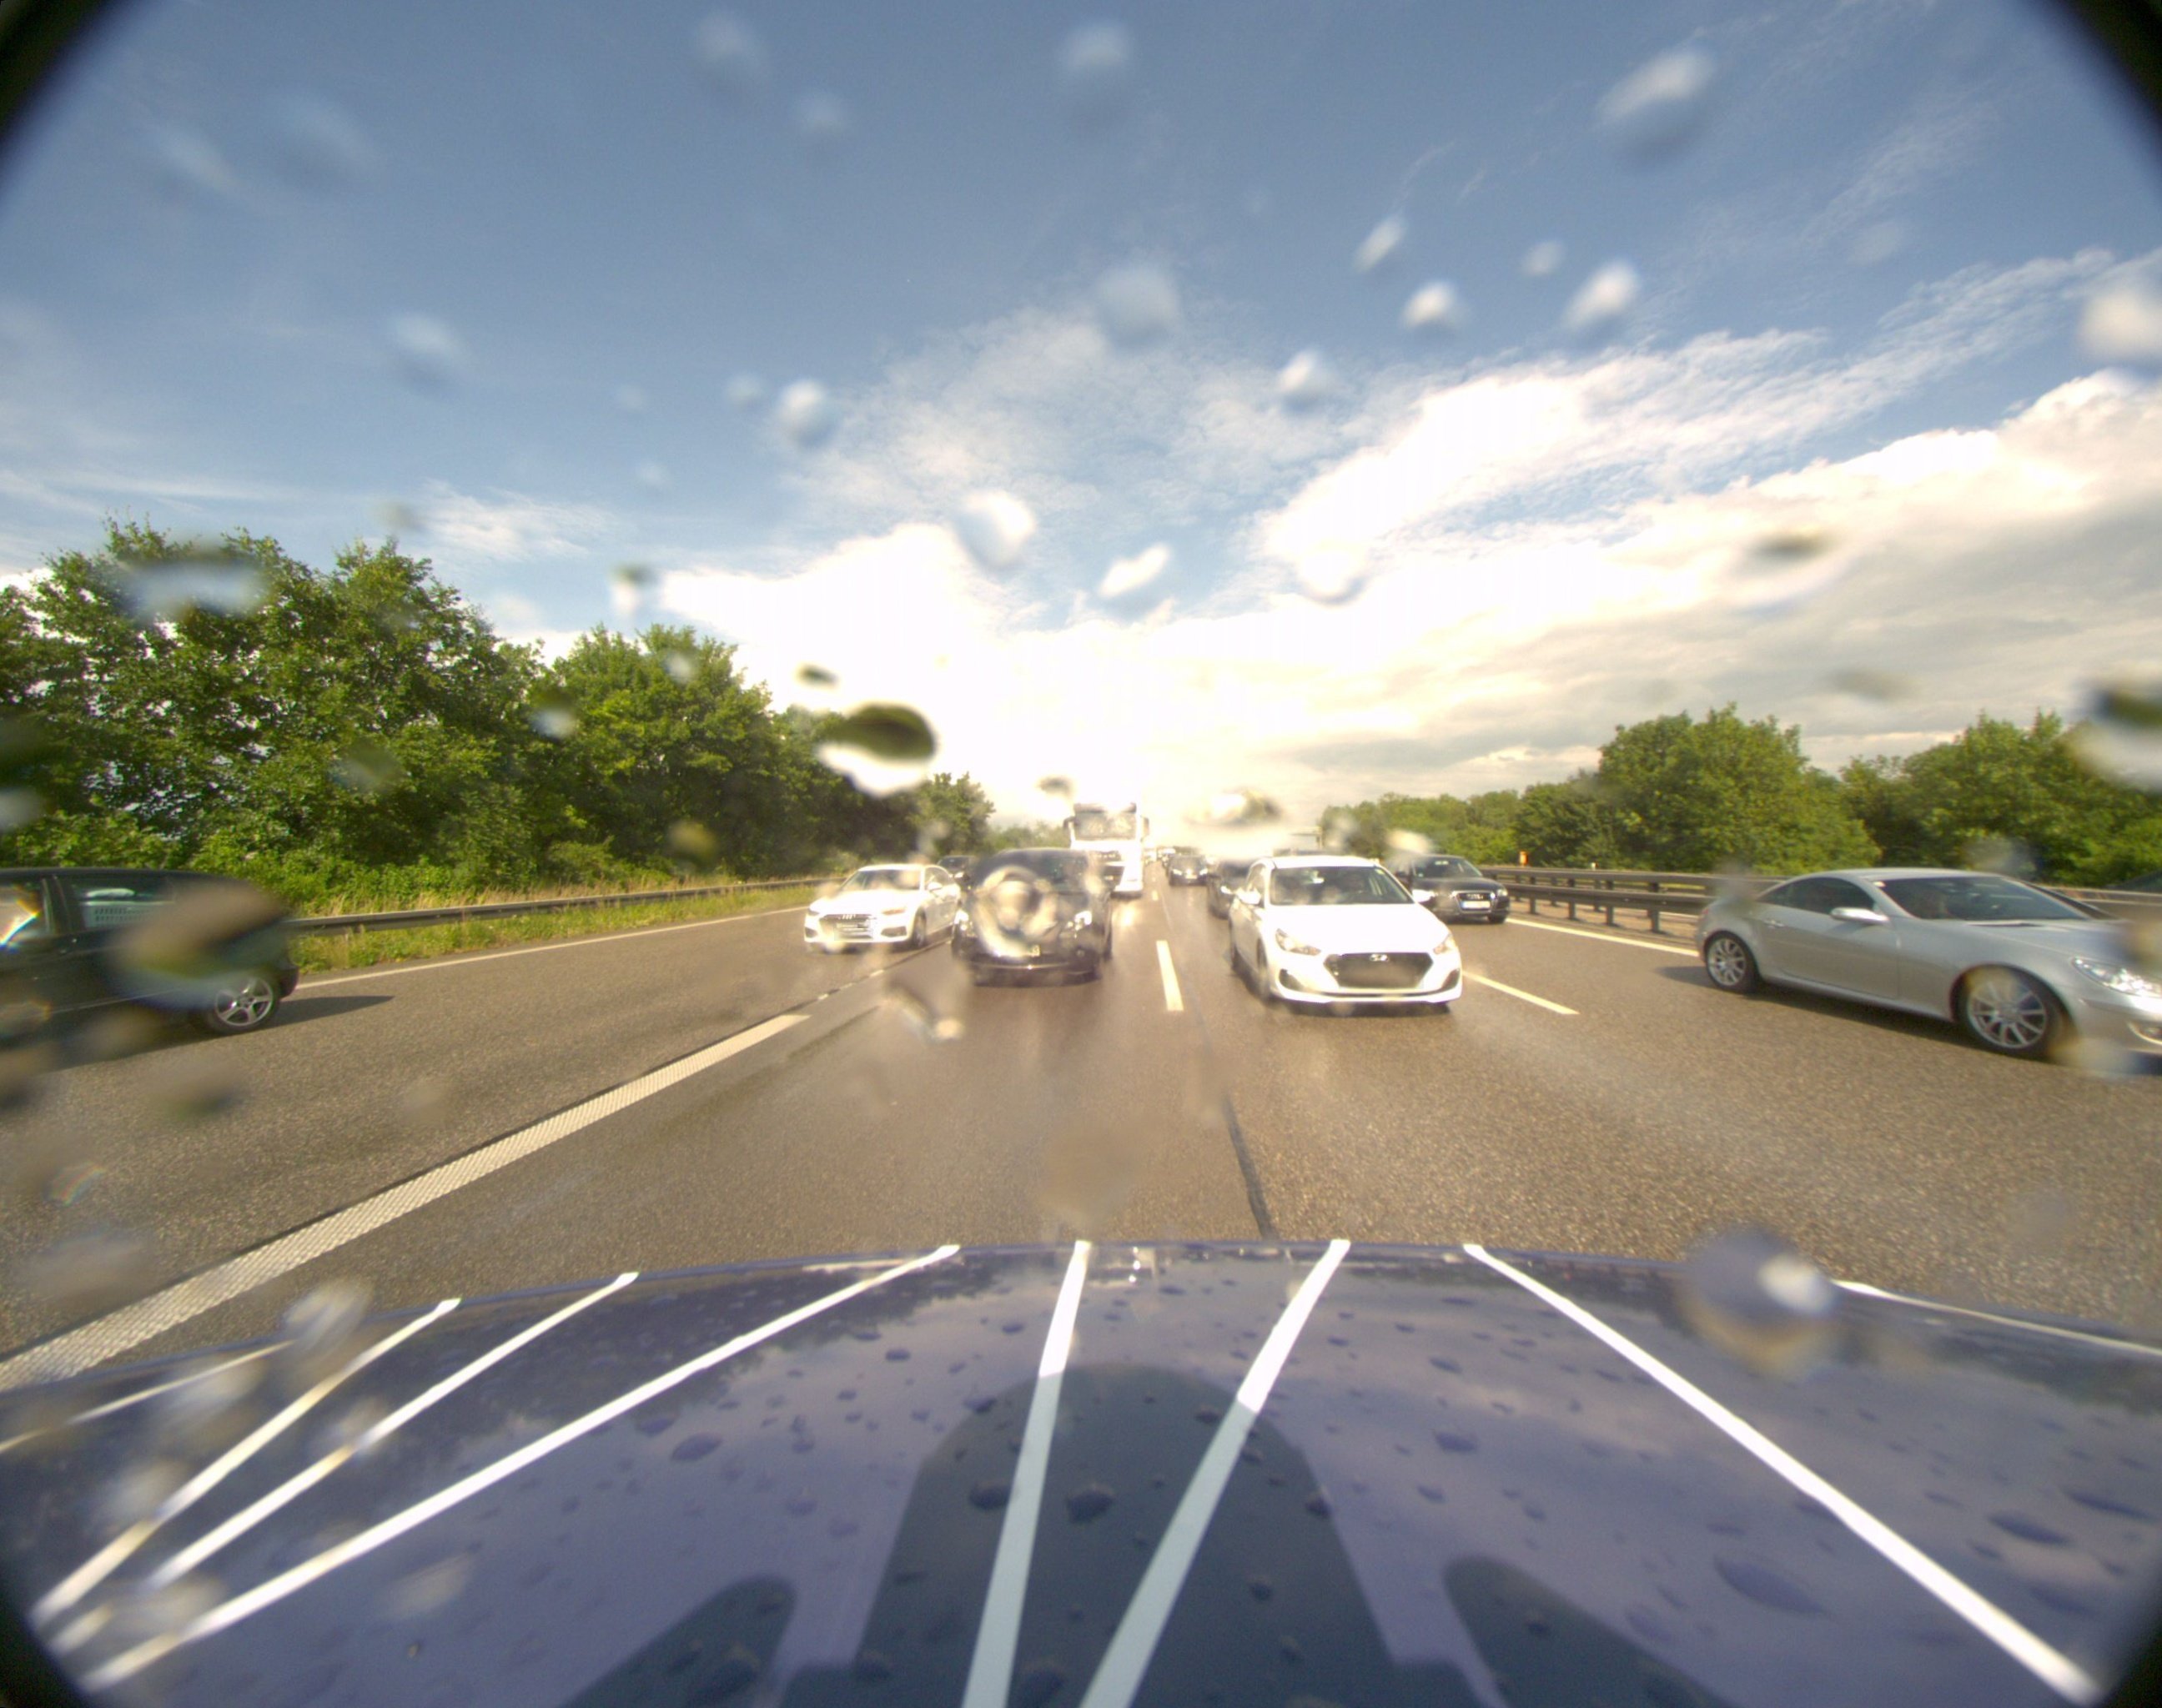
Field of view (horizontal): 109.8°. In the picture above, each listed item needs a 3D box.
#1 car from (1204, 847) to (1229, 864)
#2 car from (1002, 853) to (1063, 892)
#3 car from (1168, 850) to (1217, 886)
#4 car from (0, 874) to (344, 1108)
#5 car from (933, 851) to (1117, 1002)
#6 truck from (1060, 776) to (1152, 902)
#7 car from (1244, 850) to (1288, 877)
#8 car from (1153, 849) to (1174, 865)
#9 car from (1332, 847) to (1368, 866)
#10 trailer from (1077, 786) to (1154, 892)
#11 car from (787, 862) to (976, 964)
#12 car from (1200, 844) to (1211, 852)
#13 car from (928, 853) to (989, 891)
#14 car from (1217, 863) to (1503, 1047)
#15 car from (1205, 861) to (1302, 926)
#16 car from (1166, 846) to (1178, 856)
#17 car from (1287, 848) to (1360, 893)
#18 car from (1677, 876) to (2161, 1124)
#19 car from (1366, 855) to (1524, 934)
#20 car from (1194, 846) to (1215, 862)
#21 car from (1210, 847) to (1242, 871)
[{"bbox_3d":[13.407,0.146,75.488,1.998,1.471,4.000,-2,1,4],"label":"car"},{"bbox_3d":[-2.055,0.755,33.427,1.998,1.572,4.654,-1,0,4],"label":"car"},{"bbox_3d":[5.251,0.636,36.321,1.998,1.477,4.000,-2,1,4],"label":"car"},{"bbox_3d":[-8.500,1.009,5.707,1.852,1.559,4.001,0,1,4],"label":"car"},{"bbox_3d":[-0.516,0.798,10.532,1.883,1.638,4.397,-1,0,4],"label":"car"},{"bbox_3d":[1.164,-0.533,28.765,2.816,4.083,7.448,-2,1,6],"label":"truck"},{"bbox_3d":[10.456,0.533,43.248,1.771,1.371,4.000,-1,1,4],"label":"car"},{"bbox_3d":[8.624,0.268,79.841,1.998,1.471,4.000,-2,1,4],"label":"car"},{"bbox_3d":[24.852,0.224,70.362,1.998,1.677,4.462,-1,0,4],"label":"car"},{"bbox_3d":[1.895,-0.639,35.475,2.789,4.083,11.542,-2,1,6],"label":"trailer"},{"bbox_3d":[-3.374,0.929,13.867,1.830,1.417,4.512,-2,1,6],"label":"car"},{"bbox_3d":[28.195,-1.430,172.361,1.998,1.768,4.462,-1,0,5],"label":"car"},{"bbox_3d":[-5.667,0.807,35.632,1.824,1.611,4.365,-2,0,4],"label":"car"},{"bbox_3d":[2.738,0.884,8.646,1.885,1.446,4.549,-1,0,4],"label":"car"},{"bbox_3d":[4.124,0.896,18.769,1.728,1.330,4.288,-1,0,4],"label":"car"},{"bbox_3d":[16.931,-0.643,141.987,1.998,1.687,4.000,-2,1,4],"label":"car"},{"bbox_3d":[9.365,0.581,29.683,1.874,1.597,4.230,-1,1,6],"label":"car"},{"bbox_3d":[7.224,0.897,6.215,1.728,1.270,4.064,-1,0,4],"label":"car"},{"bbox_3d":[7.688,0.776,16.500,1.770,1.417,4.140,-2,1,6],"label":"car"},{"bbox_3d":[14.292,0.036,88.132,1.998,1.687,4.000,-2,1,4],"label":"car"},{"bbox_3d":[11.699,0.347,61.481,1.998,1.739,4.000,-2,1,4],"label":"car"}]
